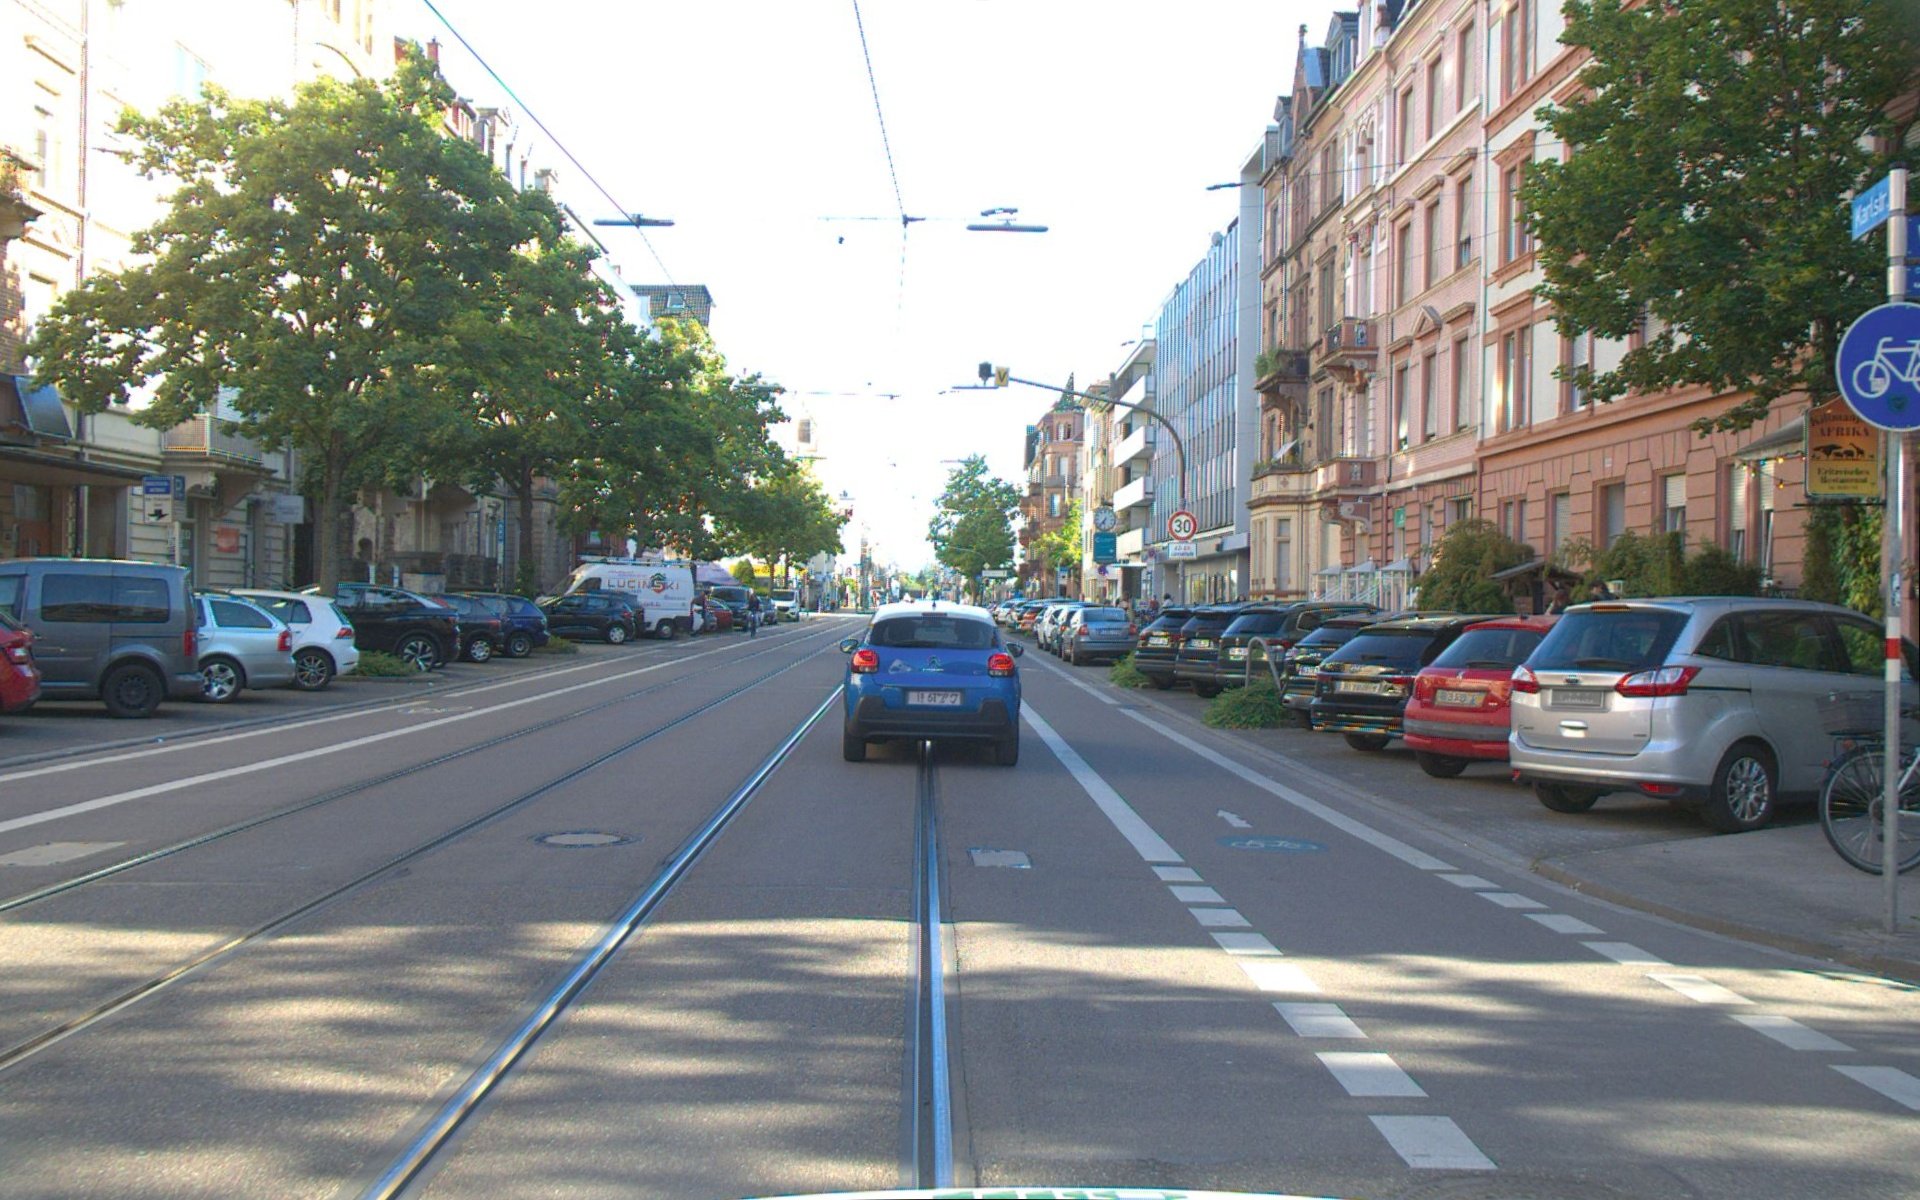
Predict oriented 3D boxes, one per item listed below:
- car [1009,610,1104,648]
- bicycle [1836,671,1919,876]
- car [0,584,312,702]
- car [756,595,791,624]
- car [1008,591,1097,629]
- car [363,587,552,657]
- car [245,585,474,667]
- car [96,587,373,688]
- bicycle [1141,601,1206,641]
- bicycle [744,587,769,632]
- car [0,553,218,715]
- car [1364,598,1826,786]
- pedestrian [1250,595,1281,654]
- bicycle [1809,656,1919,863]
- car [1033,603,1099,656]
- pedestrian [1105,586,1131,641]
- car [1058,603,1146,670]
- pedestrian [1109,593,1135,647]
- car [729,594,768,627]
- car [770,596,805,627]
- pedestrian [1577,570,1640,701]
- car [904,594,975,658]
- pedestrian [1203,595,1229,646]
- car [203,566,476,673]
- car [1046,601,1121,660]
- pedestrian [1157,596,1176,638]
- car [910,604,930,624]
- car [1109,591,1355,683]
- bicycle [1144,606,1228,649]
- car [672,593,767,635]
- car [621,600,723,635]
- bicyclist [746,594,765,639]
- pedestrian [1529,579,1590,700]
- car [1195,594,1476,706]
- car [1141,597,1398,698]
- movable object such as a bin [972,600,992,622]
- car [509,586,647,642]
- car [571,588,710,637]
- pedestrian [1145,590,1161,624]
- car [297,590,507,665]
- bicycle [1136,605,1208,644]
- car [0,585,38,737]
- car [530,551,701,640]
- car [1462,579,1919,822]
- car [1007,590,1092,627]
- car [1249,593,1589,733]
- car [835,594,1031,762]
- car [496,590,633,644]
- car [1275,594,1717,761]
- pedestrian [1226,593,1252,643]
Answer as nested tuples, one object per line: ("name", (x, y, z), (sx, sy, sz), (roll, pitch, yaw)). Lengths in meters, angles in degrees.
("car", (4.204, 1.269, 71.948), (3.686, 1.547, 1.945), (2, -1, -34))
("bicycle", (5.705, 0.967, 9.127), (1.523, 1.098, 0.307), (2, -1, 5))
("car", (-11.015, 0.574, 22.316), (3.970, 1.475, 1.679), (2, -1, -34))
("car", (-10.328, 0.518, 91.621), (1.713, 1.513, 4.038), (2, 0, -4))
("car", (4.314, 0.460, 77.193), (3.686, 1.681, 2.023), (2, -1, -34))
("car", (-11.774, 0.522, 38.781), (3.943, 1.515, 1.789), (2, -1, -29))
("car", (-11.914, 0.525, 32.886), (3.951, 1.515, 1.846), (2, -1, -34))
("car", (-11.215, 0.586, 25.636), (3.786, 1.455, 1.750), (2, -1, -27))
("bicycle", (6.874, 0.680, 53.229), (1.978, 1.243, 0.663), (2, -1, -2))
("bicycle", (-7.883, 0.361, 64.118), (0.666, 1.708, 2.096), (2, 0, -1))
("car", (-10.952, 0.386, 19.491), (3.776, 1.816, 1.776), (2, -1, -34))
("car", (5.994, 0.824, 15.609), (3.938, 1.563, 1.903), (2, -1, -26))
("pedestrian", (8.534, 0.680, 46.237), (0.697, 1.635, 0.654), (2, -1, -2))
("bicycle", (5.722, 0.920, 9.461), (1.527, 1.147, 0.295), (2, -1, 5))
("car", (3.483, 0.958, 54.748), (1.835, 1.624, 3.999), (2, 0, -1))
("pedestrian", (5.025, 0.420, 52.504), (0.697, 1.701, 0.654), (2, -1, -2))
("car", (3.672, 0.915, 43.518), (1.835, 1.624, 4.718), (2, 0, -1))
("pedestrian", (5.017, 0.622, 51.169), (0.697, 1.635, 0.654), (2, -1, -2))
("car", (-11.009, 0.544, 86.353), (1.713, 1.646, 4.407), (2, 0, -4))
("car", (-10.911, 0.759, 105.085), (1.794, 1.880, 4.213), (2, 0, -1))
("pedestrian", (9.178, 0.491, 23.417), (0.507, 1.809, 0.863), (2, -1, -1))
("car", (-0.574, 0.696, 45.739), (1.835, 1.624, 3.999), (2, 0, -1))
("pedestrian", (8.378, 0.658, 54.186), (0.697, 1.635, 0.654), (-2, -1, -2))
("car", (-11.296, 0.382, 30.201), (4.314, 1.814, 1.973), (2, -1, -34))
("car", (3.628, 0.885, 49.246), (1.835, 1.624, 3.999), (2, 0, -1))
("pedestrian", (8.828, 0.722, 70.589), (0.678, 1.786, 0.678), (2, -1, -1))
("car", (-2.975, 1.046, 122.133), (1.394, 1.457, 3.138), (2, 0, -1))
("car", (5.143, 0.700, 31.253), (4.250, 1.624, 1.966), (2, -1, -26))
("bicycle", (7.005, 0.856, 51.257), (2.487, 1.243, 0.663), (2, -1, -2))
("car", (-10.285, 0.590, 70.677), (3.672, 1.651, 1.777), (2, -1, -23))
("car", (-11.583, 0.703, 66.564), (3.752, 1.287, 1.503), (2, -1, -27))
("bicyclist", (-7.920, 0.644, 64.048), (0.621, 1.711, 0.726), (2, -1, -1))
("pedestrian", (8.475, 0.552, 23.399), (0.507, 1.677, 0.863), (2, -1, -1))
("car", (5.866, 0.775, 25.825), (3.937, 1.624, 1.943), (2, -1, -26))
("car", (5.375, 0.823, 28.719), (3.937, 1.624, 2.070), (2, -1, -26))
("movable object such as a bin", (1.605, 0.805, 121.773), (1.366, 1.509, 1.655), (2, -1, -1))
("car", (-12.056, 0.442, 52.242), (3.939, 1.646, 1.698), (2, -1, -27))
("car", (-11.655, 0.469, 60.430), (4.713, 1.646, 1.692), (2, -1, -34))
("pedestrian", (9.479, 0.349, 81.238), (0.678, 1.615, 0.678), (2, -1, -1))
("car", (-12.010, 0.596, 35.662), (3.951, 1.515, 1.785), (2, -1, -34))
("bicycle", (7.071, 0.818, 55.182), (2.309, 1.243, 0.664), (2, -1, 2))
("car", (-11.153, 0.586, 16.420), (3.426, 1.499, 1.631), (1, 0, -32))
("car", (-11.560, -0.113, 55.689), (5.316, 2.797, 1.787), (2, -1, -31))
("car", (6.185, 0.724, 12.809), (4.297, 1.624, 1.838), (2, -1, -26))
("car", (4.023, 0.393, 74.415), (3.409, 1.582, 1.804), (2, -1, -33))
("car", (5.989, 0.789, 21.425), (4.283, 1.624, 2.020), (2, -1, -36))
("car", (-0.286, 0.713, 16.645), (1.727, 1.466, 3.555), (2, 0, -2))
("car", (-11.991, 0.523, 50.107), (3.925, 1.515, 1.797), (2, -1, -18))
("car", (5.845, 0.813, 18.008), (4.379, 1.624, 2.071), (2, -1, -26))
("pedestrian", (9.193, 0.591, 54.437), (0.697, 1.635, 0.654), (2, -1, -2))
